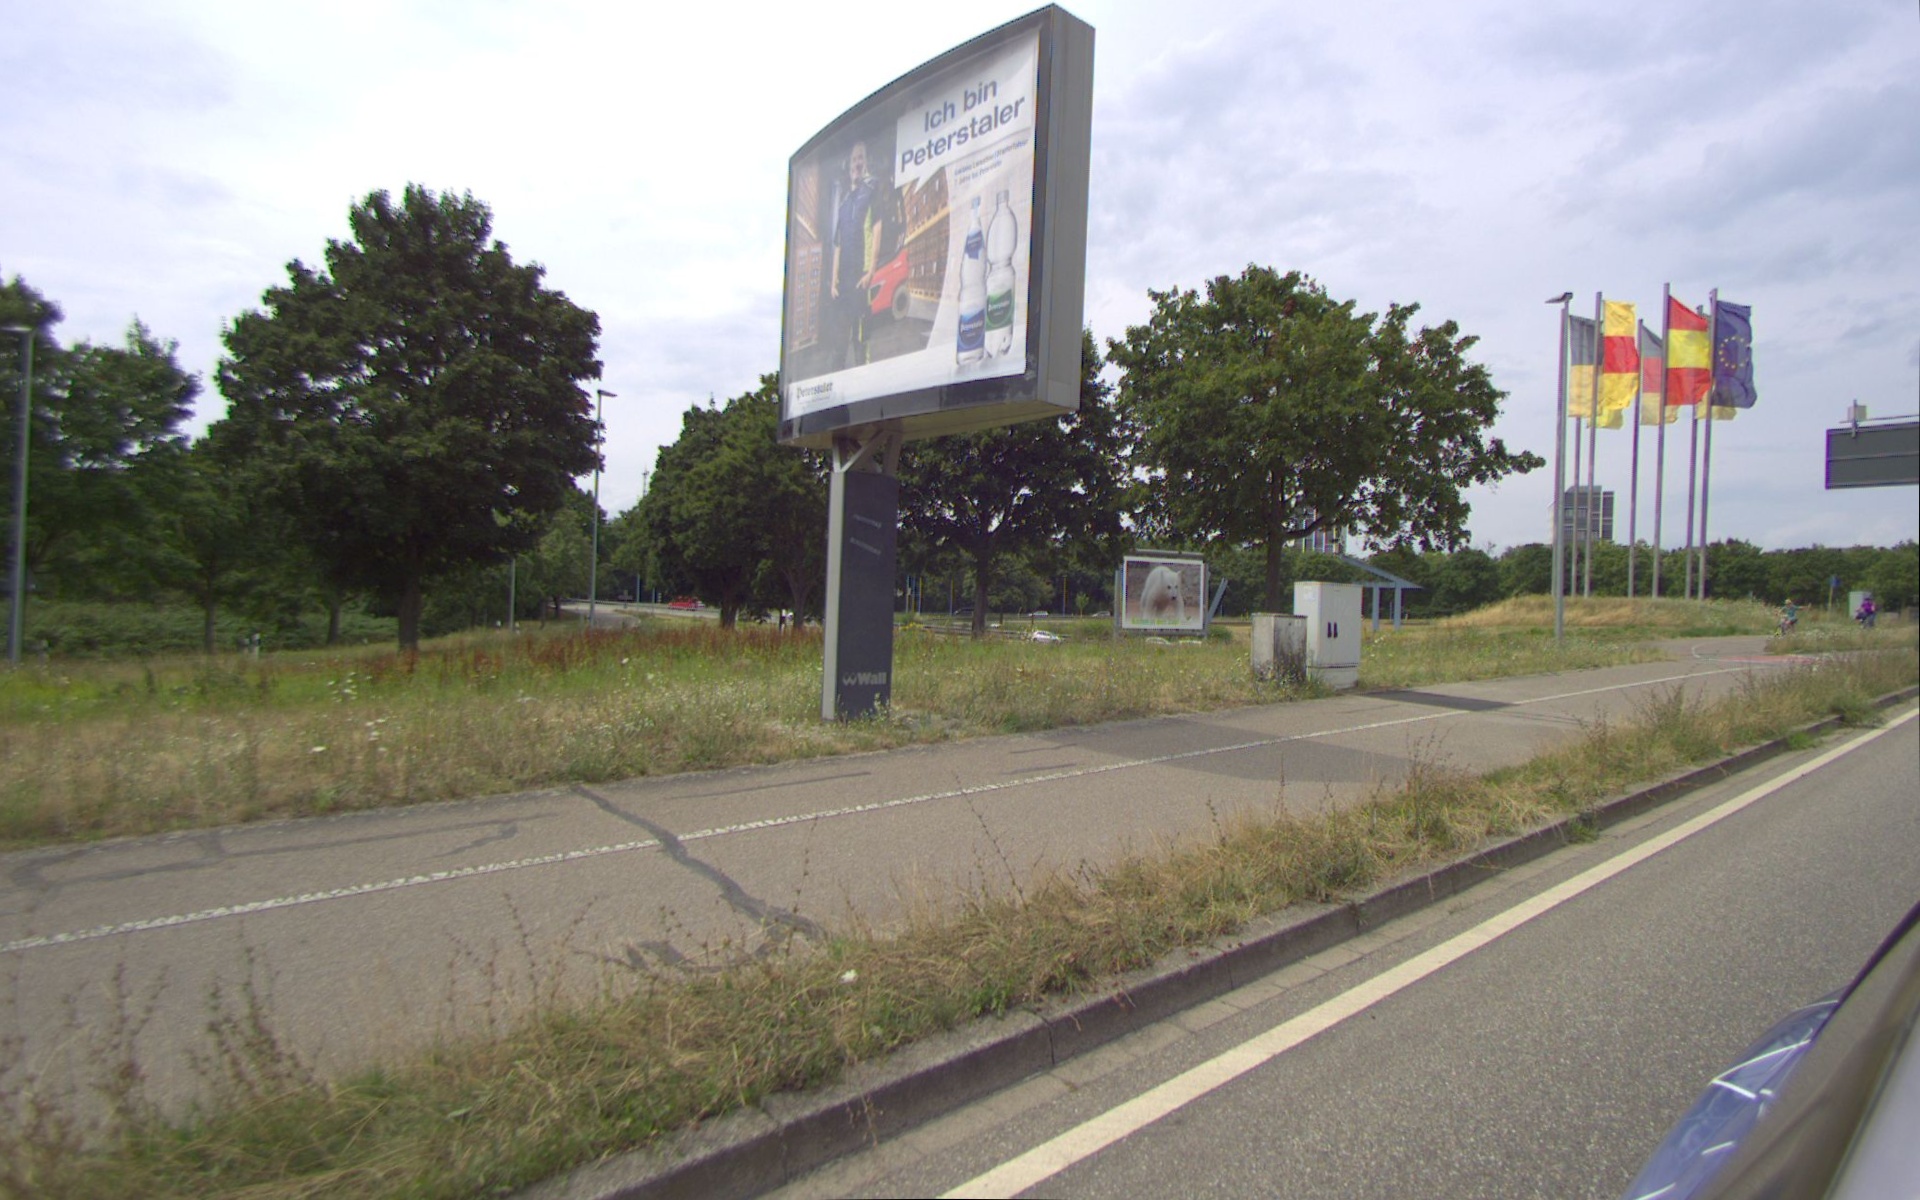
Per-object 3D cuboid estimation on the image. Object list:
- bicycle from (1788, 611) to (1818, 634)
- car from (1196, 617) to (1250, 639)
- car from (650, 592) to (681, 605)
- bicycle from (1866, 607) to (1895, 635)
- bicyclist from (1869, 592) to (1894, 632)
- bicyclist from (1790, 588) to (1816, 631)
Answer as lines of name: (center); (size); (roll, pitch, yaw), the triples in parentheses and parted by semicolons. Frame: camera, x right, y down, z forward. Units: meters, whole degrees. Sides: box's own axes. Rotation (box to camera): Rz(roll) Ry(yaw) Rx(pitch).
bicycle: (34.059, 0.907, 40.898); (2.117, 0.900, 0.624); (0, 1, -42)
car: (26.424, 2.802, 101.789); (5.173, 2.039, 1.991); (2, 0, 14)
car: (-50.781, -0.328, 174.556); (5.426, 2.039, 1.979); (2, 0, 30)
bicycle: (41.738, 0.957, 45.868); (2.418, 1.207, 0.695); (1, 1, -42)
bicyclist: (41.830, 0.525, 45.941); (0.974, 1.777, 0.704); (2, 0, -41)
bicyclist: (34.075, 0.389, 40.891); (0.657, 1.686, 0.623); (2, 2, -42)
